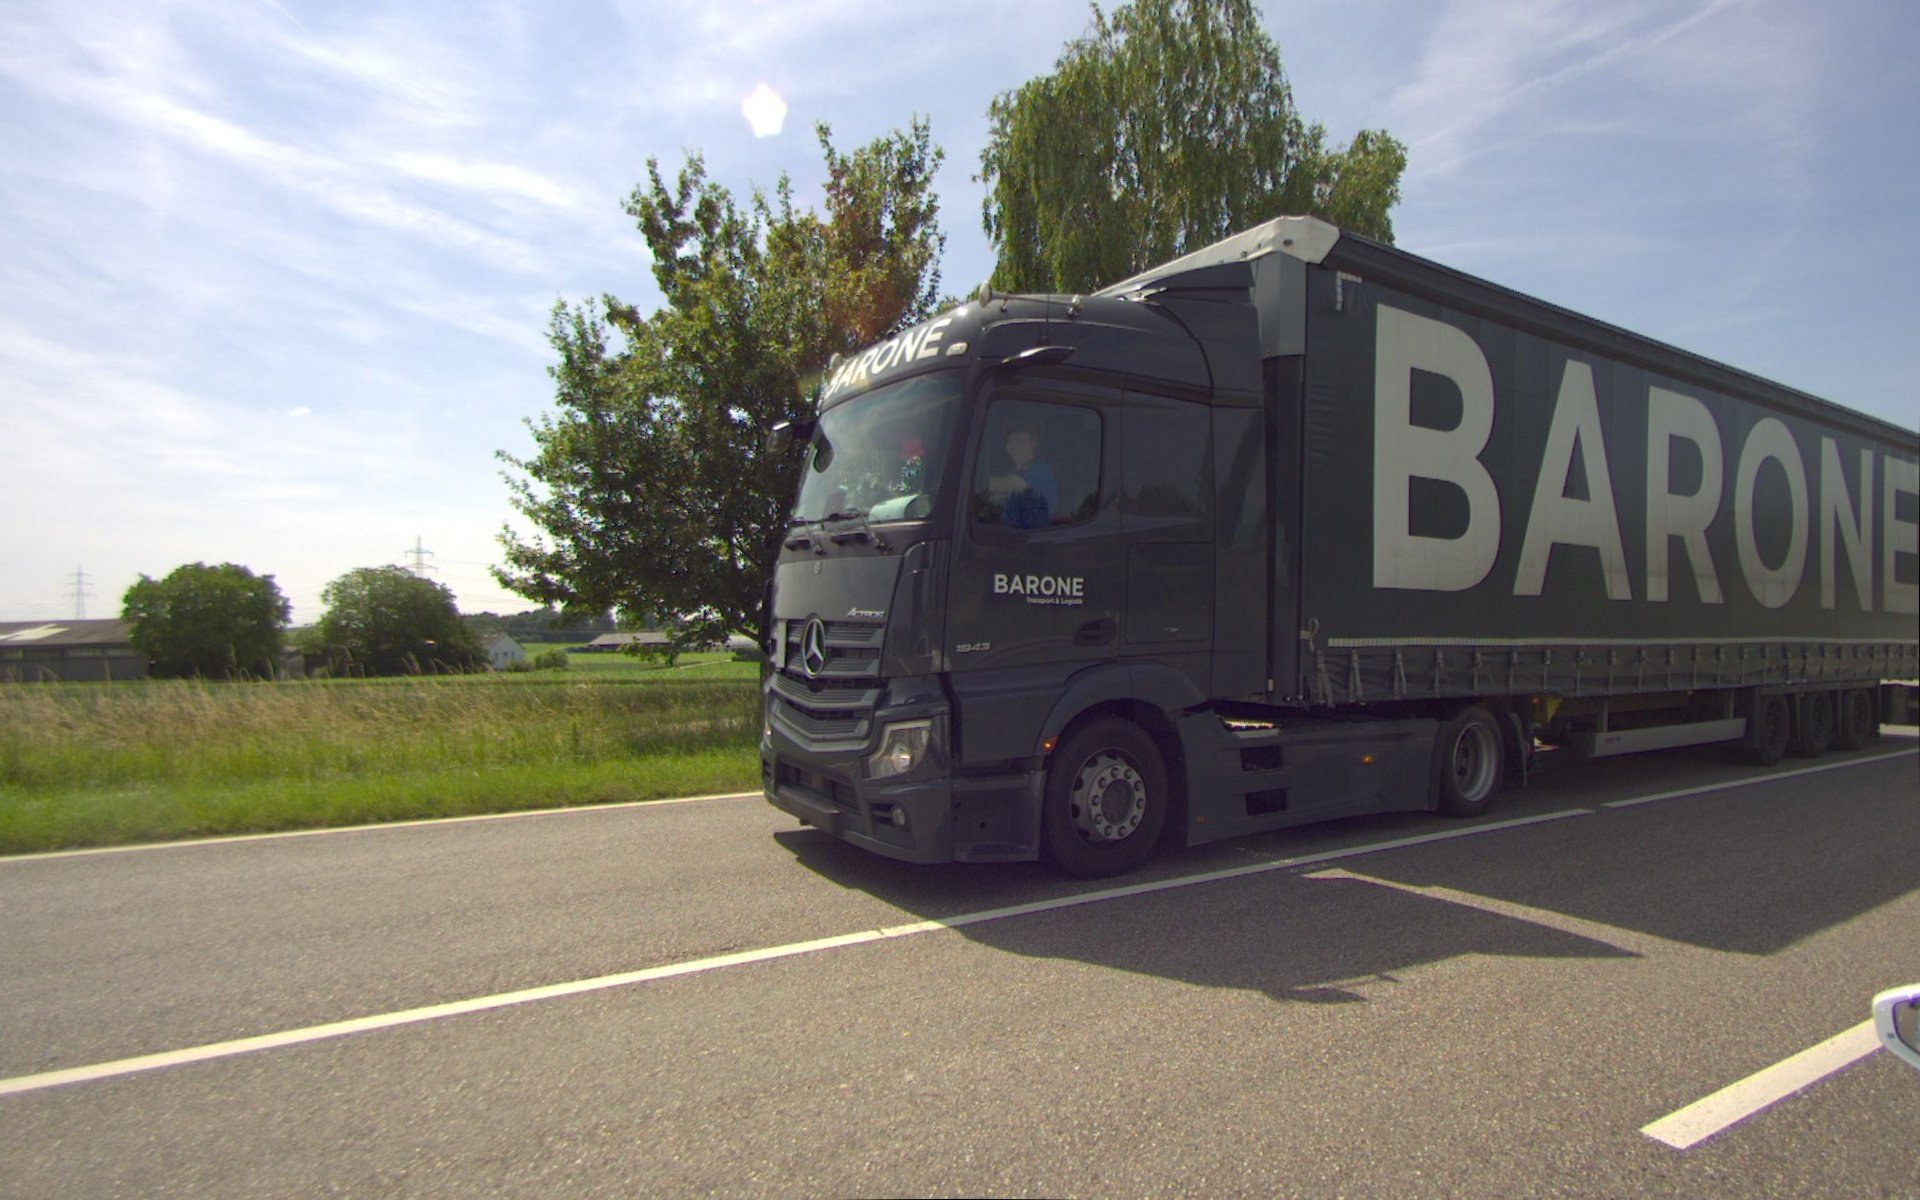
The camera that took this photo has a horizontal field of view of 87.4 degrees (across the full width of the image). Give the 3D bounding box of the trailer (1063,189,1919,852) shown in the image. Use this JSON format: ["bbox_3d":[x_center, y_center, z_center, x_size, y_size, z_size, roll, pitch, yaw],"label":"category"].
[{"bbox_3d":[7.248,-0.376,11.187,13.594,4.198,2.578,1,-1,-33],"label":"trailer"}]

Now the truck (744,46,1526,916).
[{"bbox_3d":[1.453,-0.517,7.372,5.384,4.158,2.570,1,-1,-33],"label":"truck"}]
